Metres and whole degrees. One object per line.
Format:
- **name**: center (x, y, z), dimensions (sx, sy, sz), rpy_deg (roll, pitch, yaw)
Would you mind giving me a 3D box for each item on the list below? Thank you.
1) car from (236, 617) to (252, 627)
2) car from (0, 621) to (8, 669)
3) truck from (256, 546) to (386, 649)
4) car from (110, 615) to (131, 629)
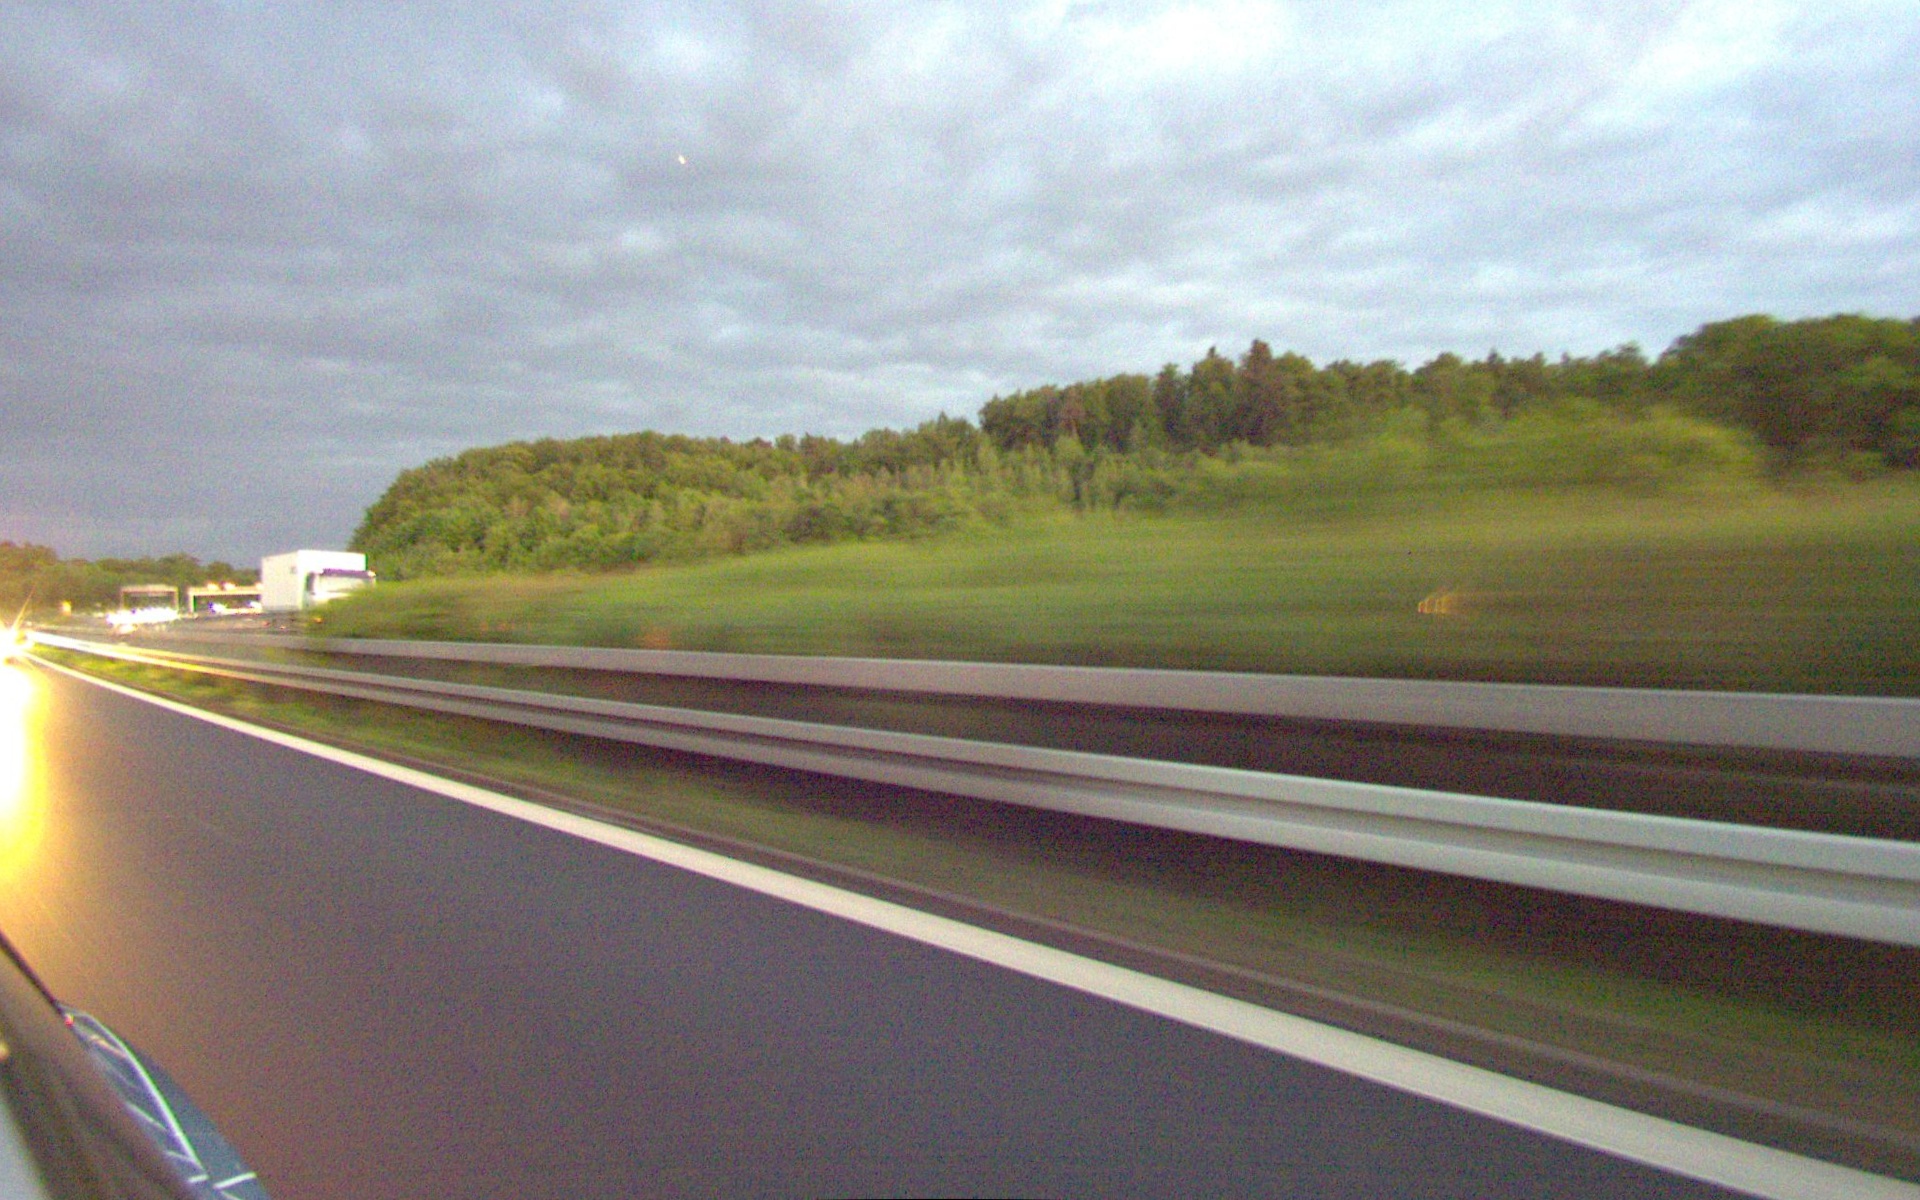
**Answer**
- **car**: center (-121.050, 3.660, 171.138), dimensions (1.869, 1.631, 4.006), rpy_deg (0, 0, -41)
- **car**: center (-33.223, 1.517, 33.869), dimensions (3.755, 1.572, 1.647), rpy_deg (-1, 0, 41)
- **truck**: center (-29.959, -0.084, 47.196), dimensions (9.896, 4.334, 3.004), rpy_deg (-1, 0, 45)
- **car**: center (-105.894, 2.801, 127.661), dimensions (1.807, 1.697, 4.233), rpy_deg (0, -1, -43)
